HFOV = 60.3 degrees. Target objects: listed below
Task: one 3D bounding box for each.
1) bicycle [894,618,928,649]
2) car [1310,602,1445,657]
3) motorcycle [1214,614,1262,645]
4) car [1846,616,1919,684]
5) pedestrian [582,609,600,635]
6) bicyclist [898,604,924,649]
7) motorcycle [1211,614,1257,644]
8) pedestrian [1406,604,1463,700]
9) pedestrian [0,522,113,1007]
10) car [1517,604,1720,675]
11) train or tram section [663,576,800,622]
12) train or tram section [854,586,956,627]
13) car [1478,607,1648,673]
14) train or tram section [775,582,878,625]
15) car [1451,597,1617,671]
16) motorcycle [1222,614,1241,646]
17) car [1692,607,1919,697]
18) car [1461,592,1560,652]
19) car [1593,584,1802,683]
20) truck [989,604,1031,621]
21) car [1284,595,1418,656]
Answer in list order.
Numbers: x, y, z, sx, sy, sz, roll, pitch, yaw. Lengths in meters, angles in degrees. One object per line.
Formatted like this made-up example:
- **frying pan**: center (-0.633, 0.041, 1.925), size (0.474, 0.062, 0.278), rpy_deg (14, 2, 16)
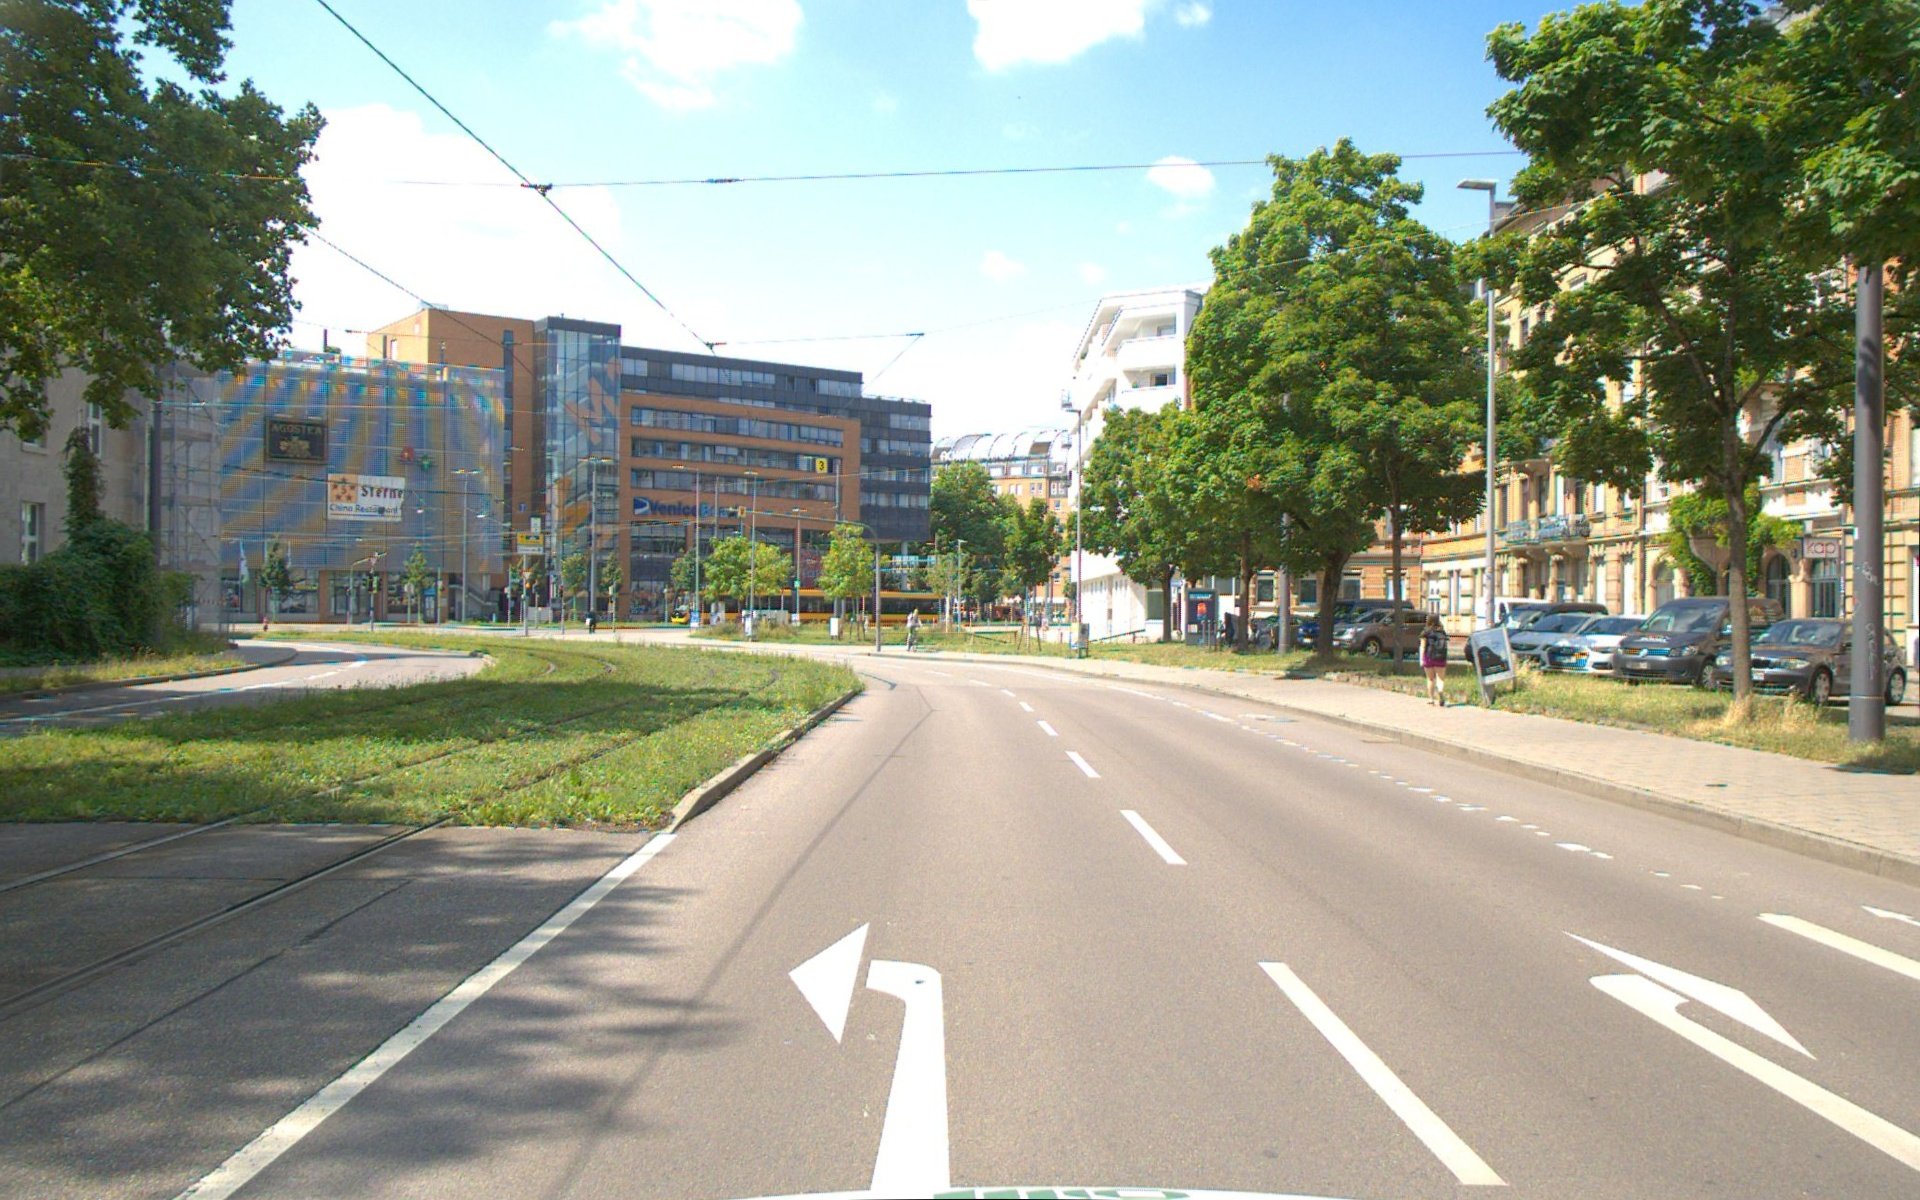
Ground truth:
- **bicycle**: center (-2.087, 1.413, 70.464), size (0.686, 1.264, 1.822), rpy_deg (-2, 0, -28)
- **car**: center (13.787, 0.981, 54.599), size (4.112, 1.685, 1.899), rpy_deg (2, -1, -28)
- **motorcycle**: center (10.975, 1.159, 65.295), size (1.747, 1.187, 0.639), rpy_deg (1, -1, -2)
- **car**: center (22.298, 1.164, 37.817), size (1.794, 1.518, 4.226), rpy_deg (2, -1, 0)
- **pedestrian**: center (-24.719, 1.457, 110.736), size (0.897, 1.732, 0.808), rpy_deg (-1, -1, 24)
- **bicyclist**: center (-2.086, 1.118, 70.446), size (0.686, 1.856, 0.947), rpy_deg (-2, 0, -28)
- **motorcycle**: center (10.956, 1.174, 66.177), size (1.747, 1.187, 0.639), rpy_deg (1, -1, -2)
- **pedestrian**: center (8.179, 0.891, 28.531), size (0.686, 1.620, 0.905), rpy_deg (2, -1, -2)
- **pedestrian**: center (-3.790, 0.586, 6.226), size (0.765, 1.734, 0.702), rpy_deg (1, -1, 1)
- **car**: center (14.225, 0.856, 35.632), size (4.639, 1.404, 1.830), rpy_deg (2, -1, -35)
- **train or tram section**: center (-20.419, -0.054, 148.829), size (3.168, 3.662, 13.422), rpy_deg (1, -1, 41)
- **train or tram section**: center (-5.430, 0.712, 167.206), size (3.005, 3.684, 12.579), rpy_deg (1, -1, 37)
- **car**: center (14.203, 0.954, 38.868), size (4.039, 1.430, 1.829), rpy_deg (2, -1, -36)
- **train or tram section**: center (-12.631, 0.368, 157.987), size (3.007, 3.666, 10.936), rpy_deg (1, -1, 39)
- **car**: center (14.603, 0.876, 42.047), size (4.095, 1.771, 1.833), rpy_deg (2, -1, -32)
- **motorcycle**: center (10.290, 1.122, 62.604), size (0.624, 1.187, 1.908), rpy_deg (0, -1, 11)
- **car**: center (14.336, 0.884, 27.923), size (4.223, 1.404, 1.828), rpy_deg (2, -1, -37)
- **car**: center (21.825, 0.893, 65.798), size (2.067, 2.217, 5.393), rpy_deg (2, -1, 0)
- **car**: center (14.199, 0.666, 31.761), size (4.319, 1.771, 1.828), rpy_deg (2, -1, -37)
- **truck**: center (6.697, 1.630, 221.695), size (5.420, 2.122, 1.990), rpy_deg (1, -1, 40)
- **car**: center (13.631, 0.892, 57.588), size (4.569, 1.961, 1.896), rpy_deg (2, -1, -32)
